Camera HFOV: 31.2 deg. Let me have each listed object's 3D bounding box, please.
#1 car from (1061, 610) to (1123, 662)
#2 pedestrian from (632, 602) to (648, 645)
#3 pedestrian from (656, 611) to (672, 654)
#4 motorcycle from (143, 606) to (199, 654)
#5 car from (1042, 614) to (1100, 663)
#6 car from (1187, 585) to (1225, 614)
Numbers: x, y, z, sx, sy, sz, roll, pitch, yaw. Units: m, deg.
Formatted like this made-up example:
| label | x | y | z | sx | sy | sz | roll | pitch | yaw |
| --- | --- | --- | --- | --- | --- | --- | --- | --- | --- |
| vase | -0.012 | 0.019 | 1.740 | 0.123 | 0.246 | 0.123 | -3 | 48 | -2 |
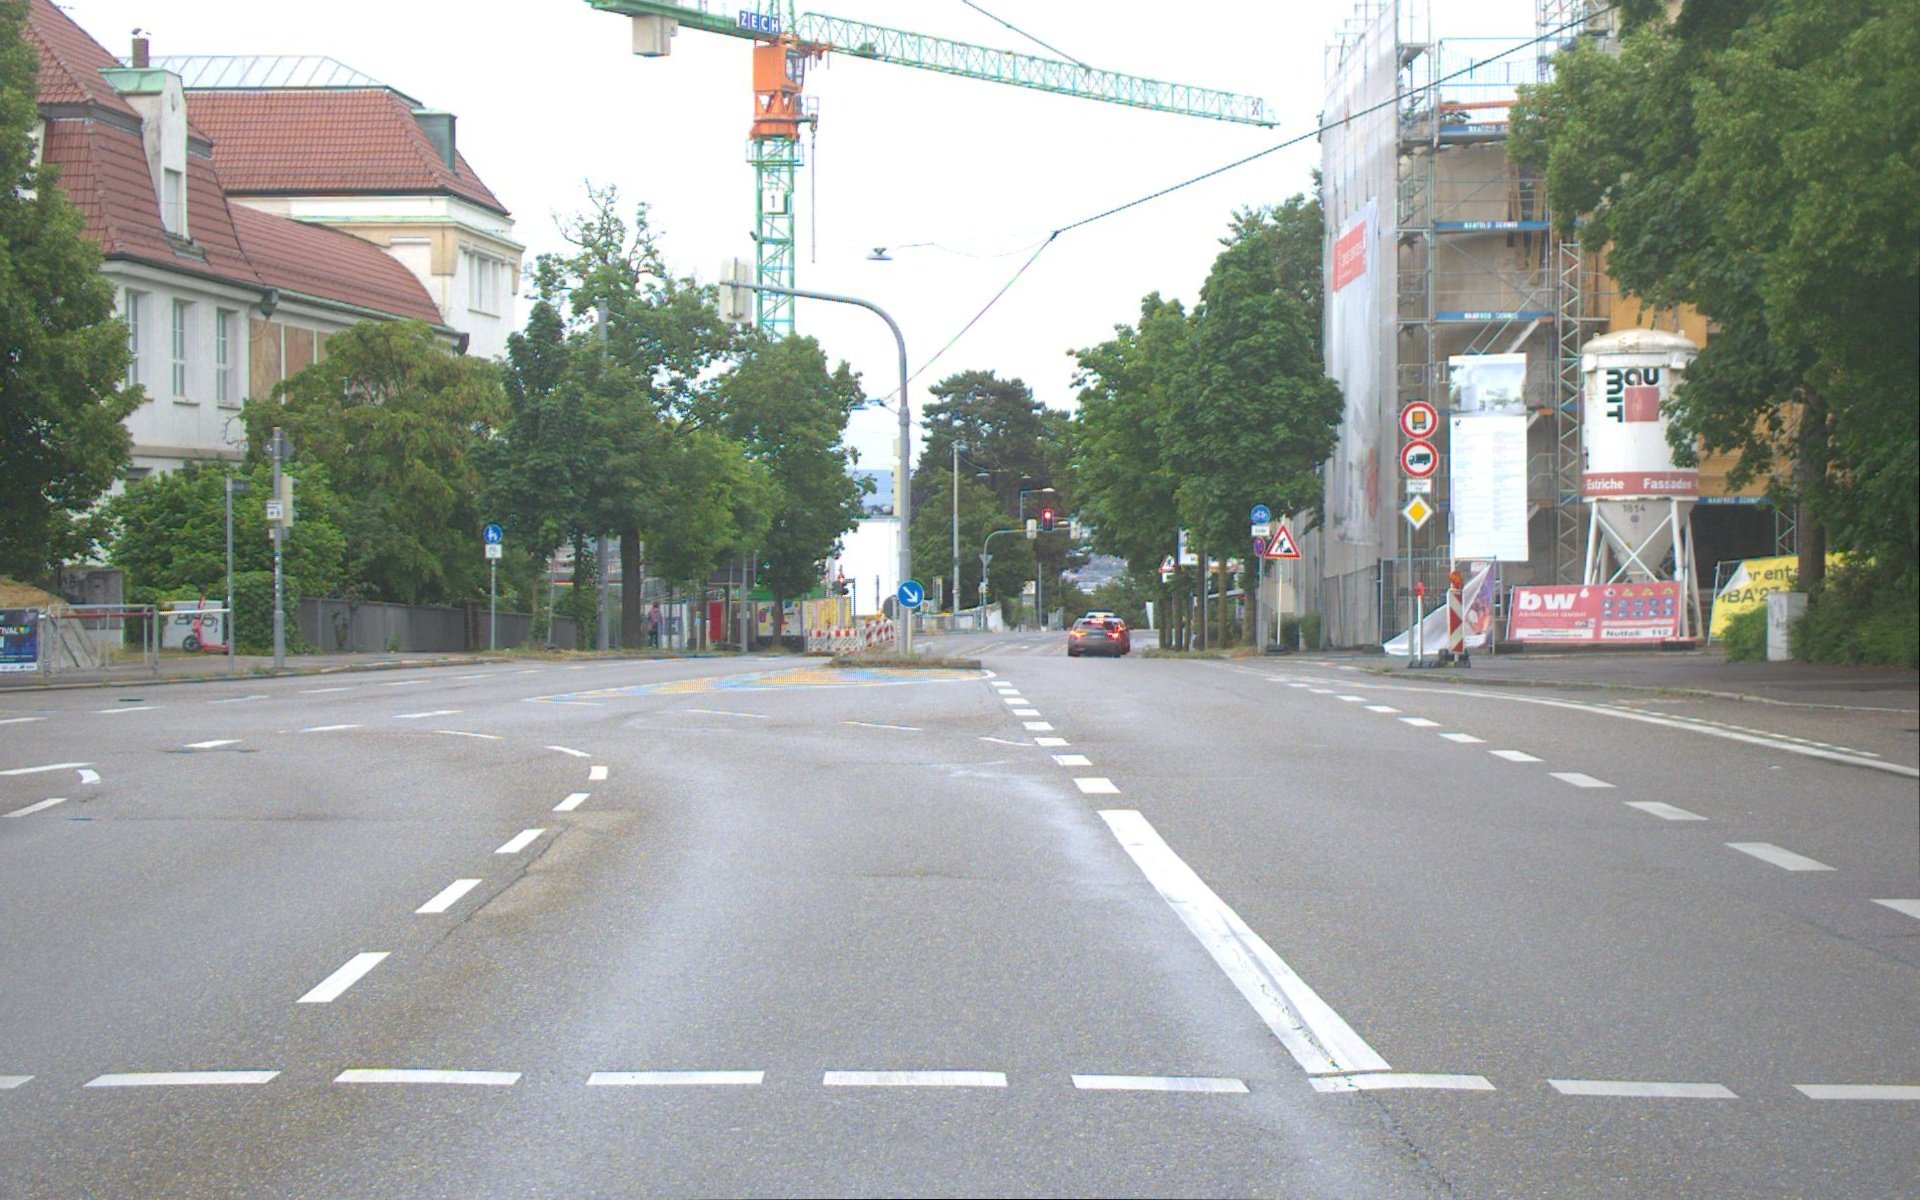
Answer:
| label | x | y | z | sx | sy | sz | roll | pitch | yaw |
| --- | --- | --- | --- | --- | --- | --- | --- | --- | --- |
| car | 4.787 | 1.295 | 124.837 | 1.993 | 1.744 | 4.000 | -1 | 1 | -1 |
| pedestrian | -10.470 | 0.774 | 112.381 | 0.474 | 1.391 | 0.411 | 0 | 1 | -1 |
| pedestrian | -9.661 | 1.048 | 112.339 | 0.474 | 1.391 | 0.411 | 0 | 1 | -1 |
| motorcycle | -14.880 | 0.562 | 64.830 | 0.849 | 0.874 | 0.877 | 1 | 0 | -1 |
| car | 4.220 | 1.441 | 131.382 | 1.993 | 1.744 | 4.000 | -1 | 1 | -1 |
| car | 15.693 | -0.033 | 219.340 | 1.994 | 1.744 | 3.998 | -1 | 1 | 11 |
